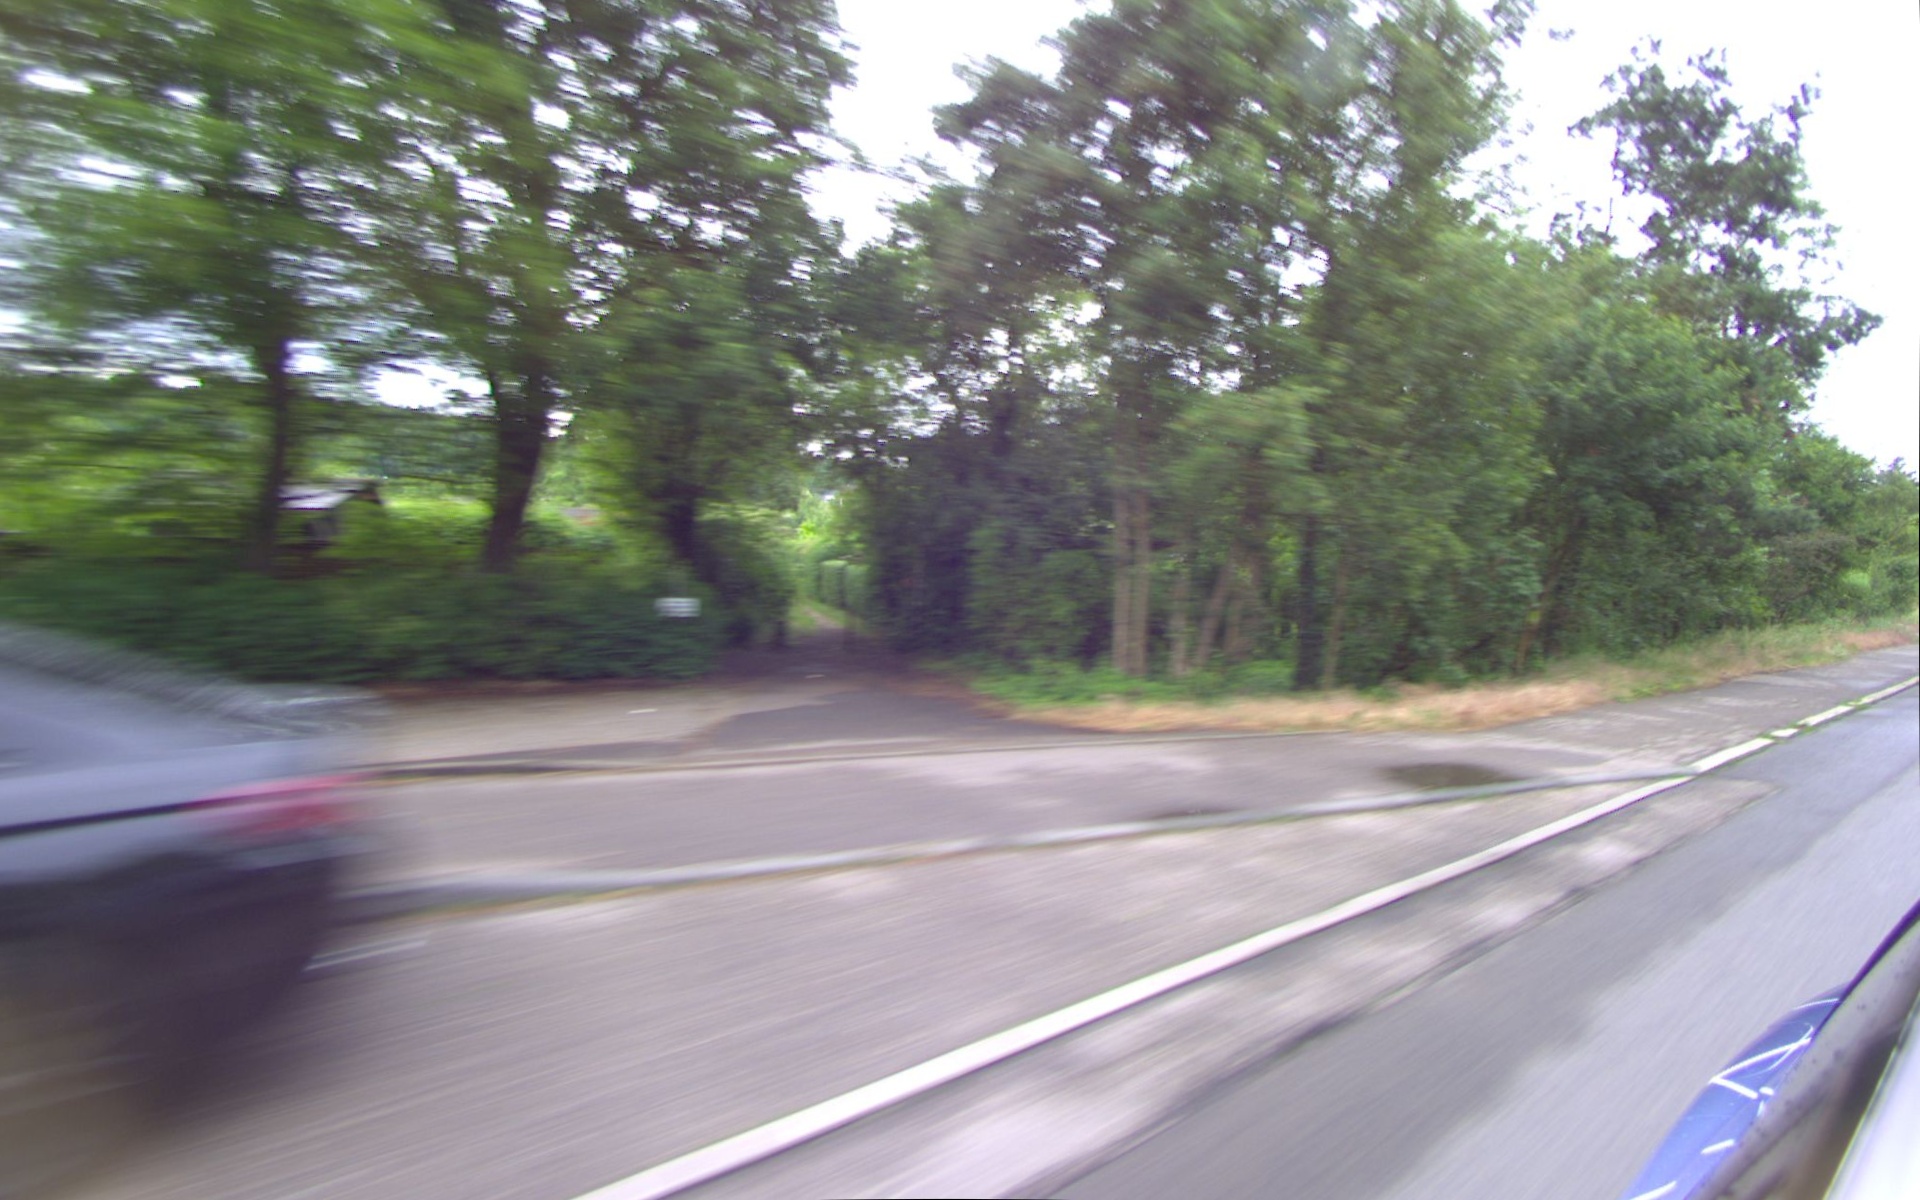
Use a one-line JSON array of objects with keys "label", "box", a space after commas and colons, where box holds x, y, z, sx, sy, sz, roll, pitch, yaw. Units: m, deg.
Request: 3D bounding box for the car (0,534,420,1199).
[{"label": "car", "box": [-3.826, 0.614, 2.007, 4.586, 1.528, 1.810, -1, 5, -41]}]
